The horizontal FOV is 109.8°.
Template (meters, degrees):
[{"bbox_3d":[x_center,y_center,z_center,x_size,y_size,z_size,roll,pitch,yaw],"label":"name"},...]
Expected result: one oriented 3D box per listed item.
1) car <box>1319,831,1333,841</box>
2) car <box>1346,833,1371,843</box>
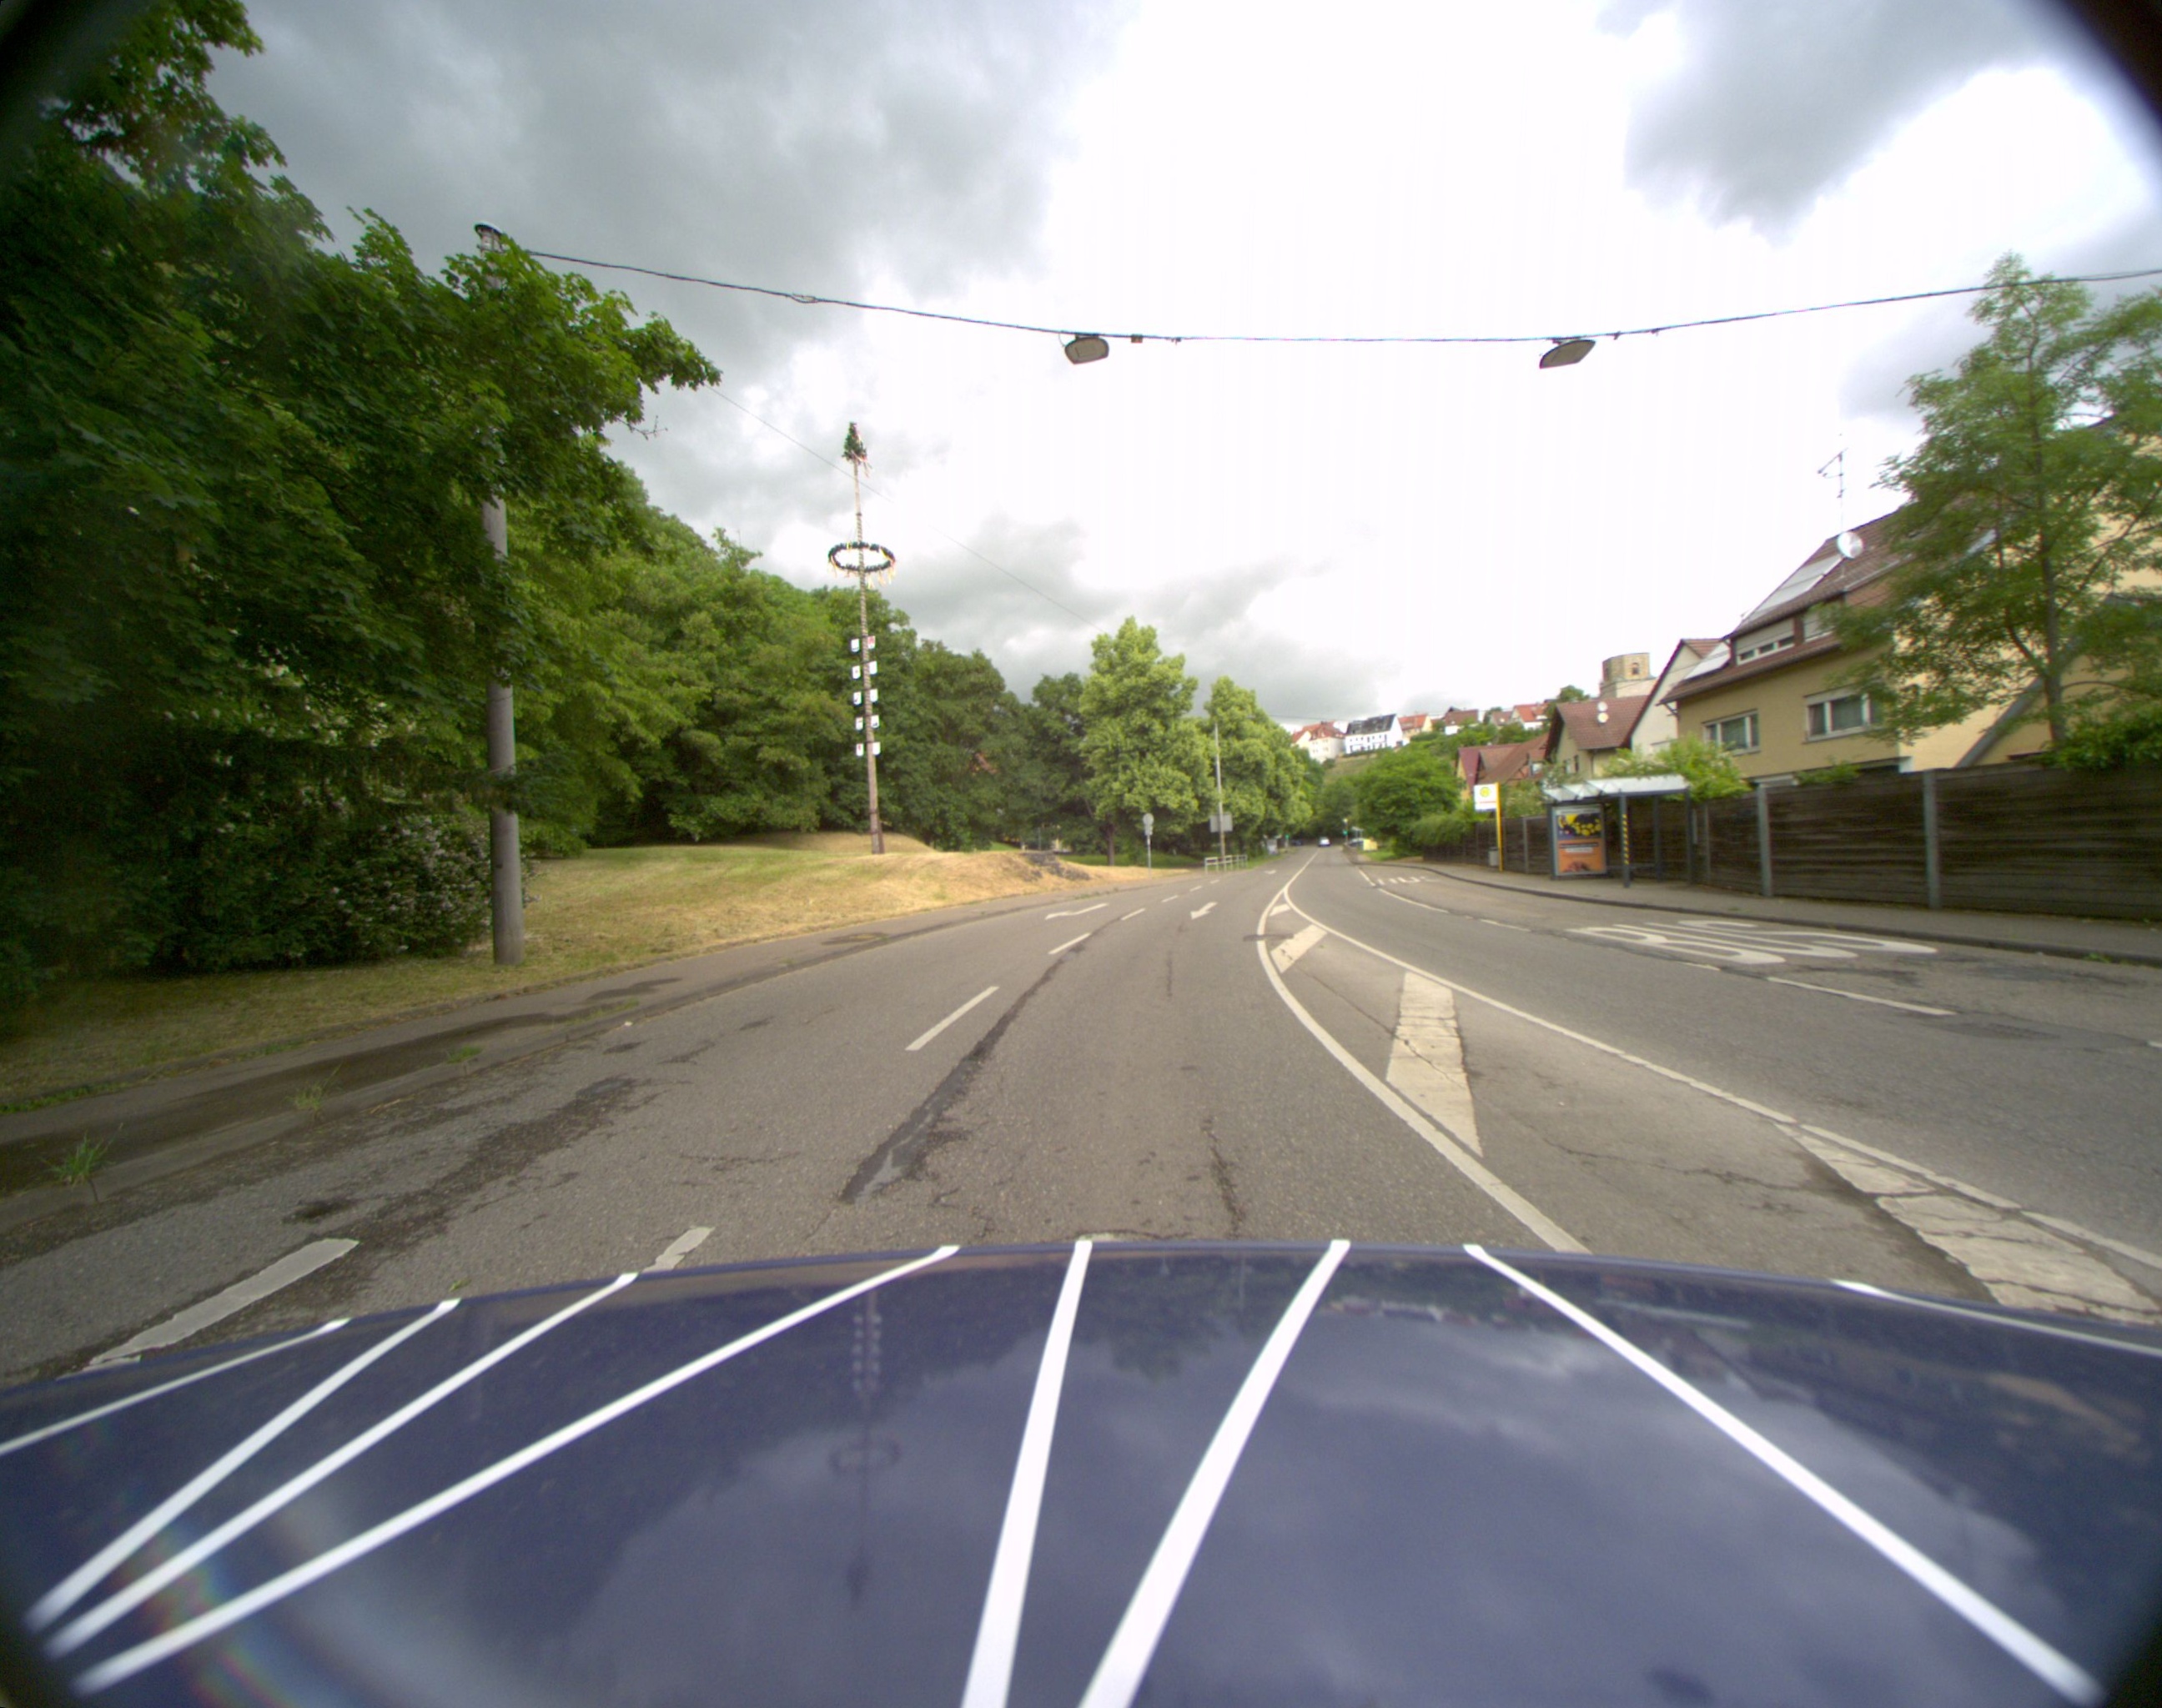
[{"bbox_3d":[45.054,-3.278,139.695,1.996,1.608,4.003,-2,1,13],"label":"car"},{"bbox_3d":[45.828,-2.635,125.458,3.674,1.575,1.768,-2,1,28],"label":"car"}]
